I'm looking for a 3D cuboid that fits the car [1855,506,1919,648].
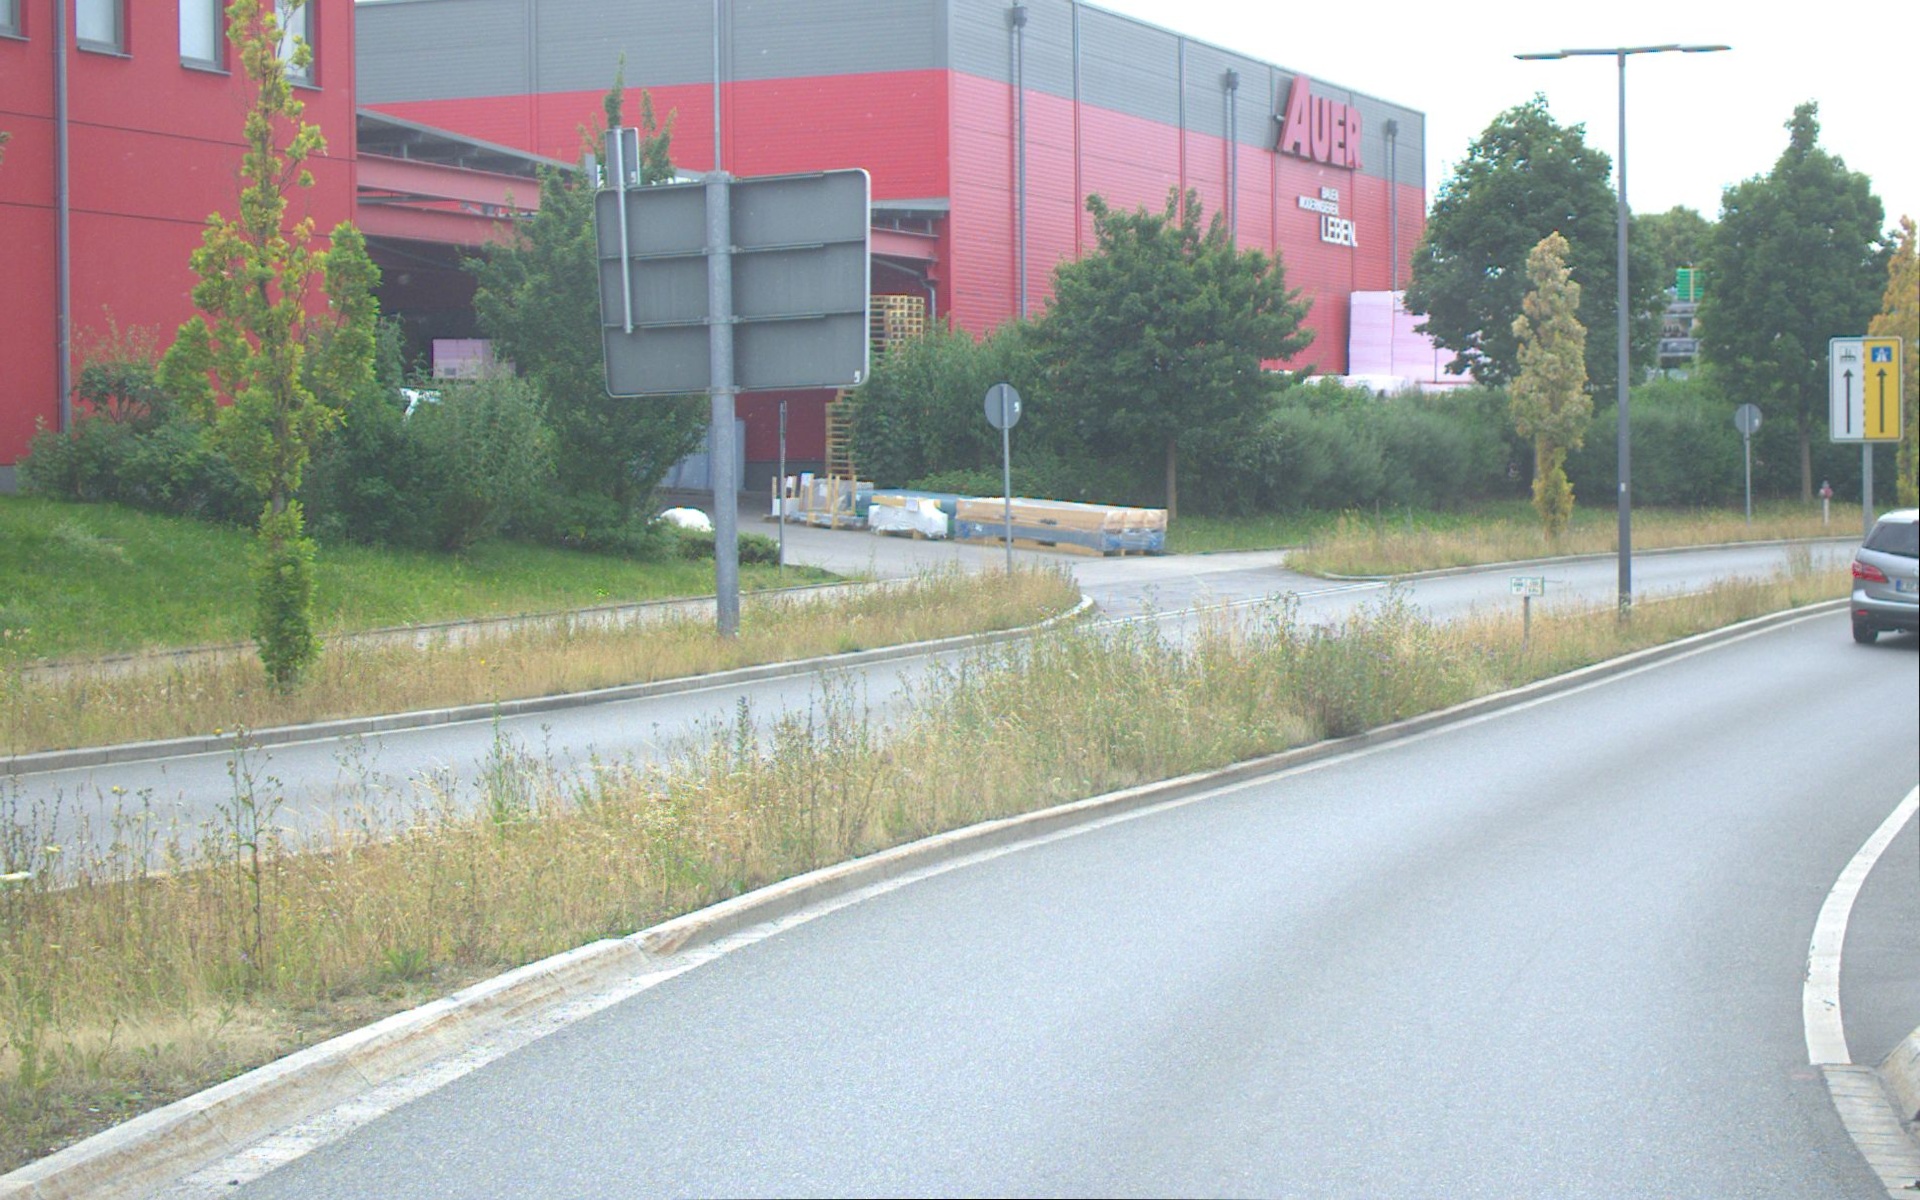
[{"bbox_3d":[11.822,-0.287,40.733,1.769,1.611,3.917,1,1,23],"label":"car"}]
